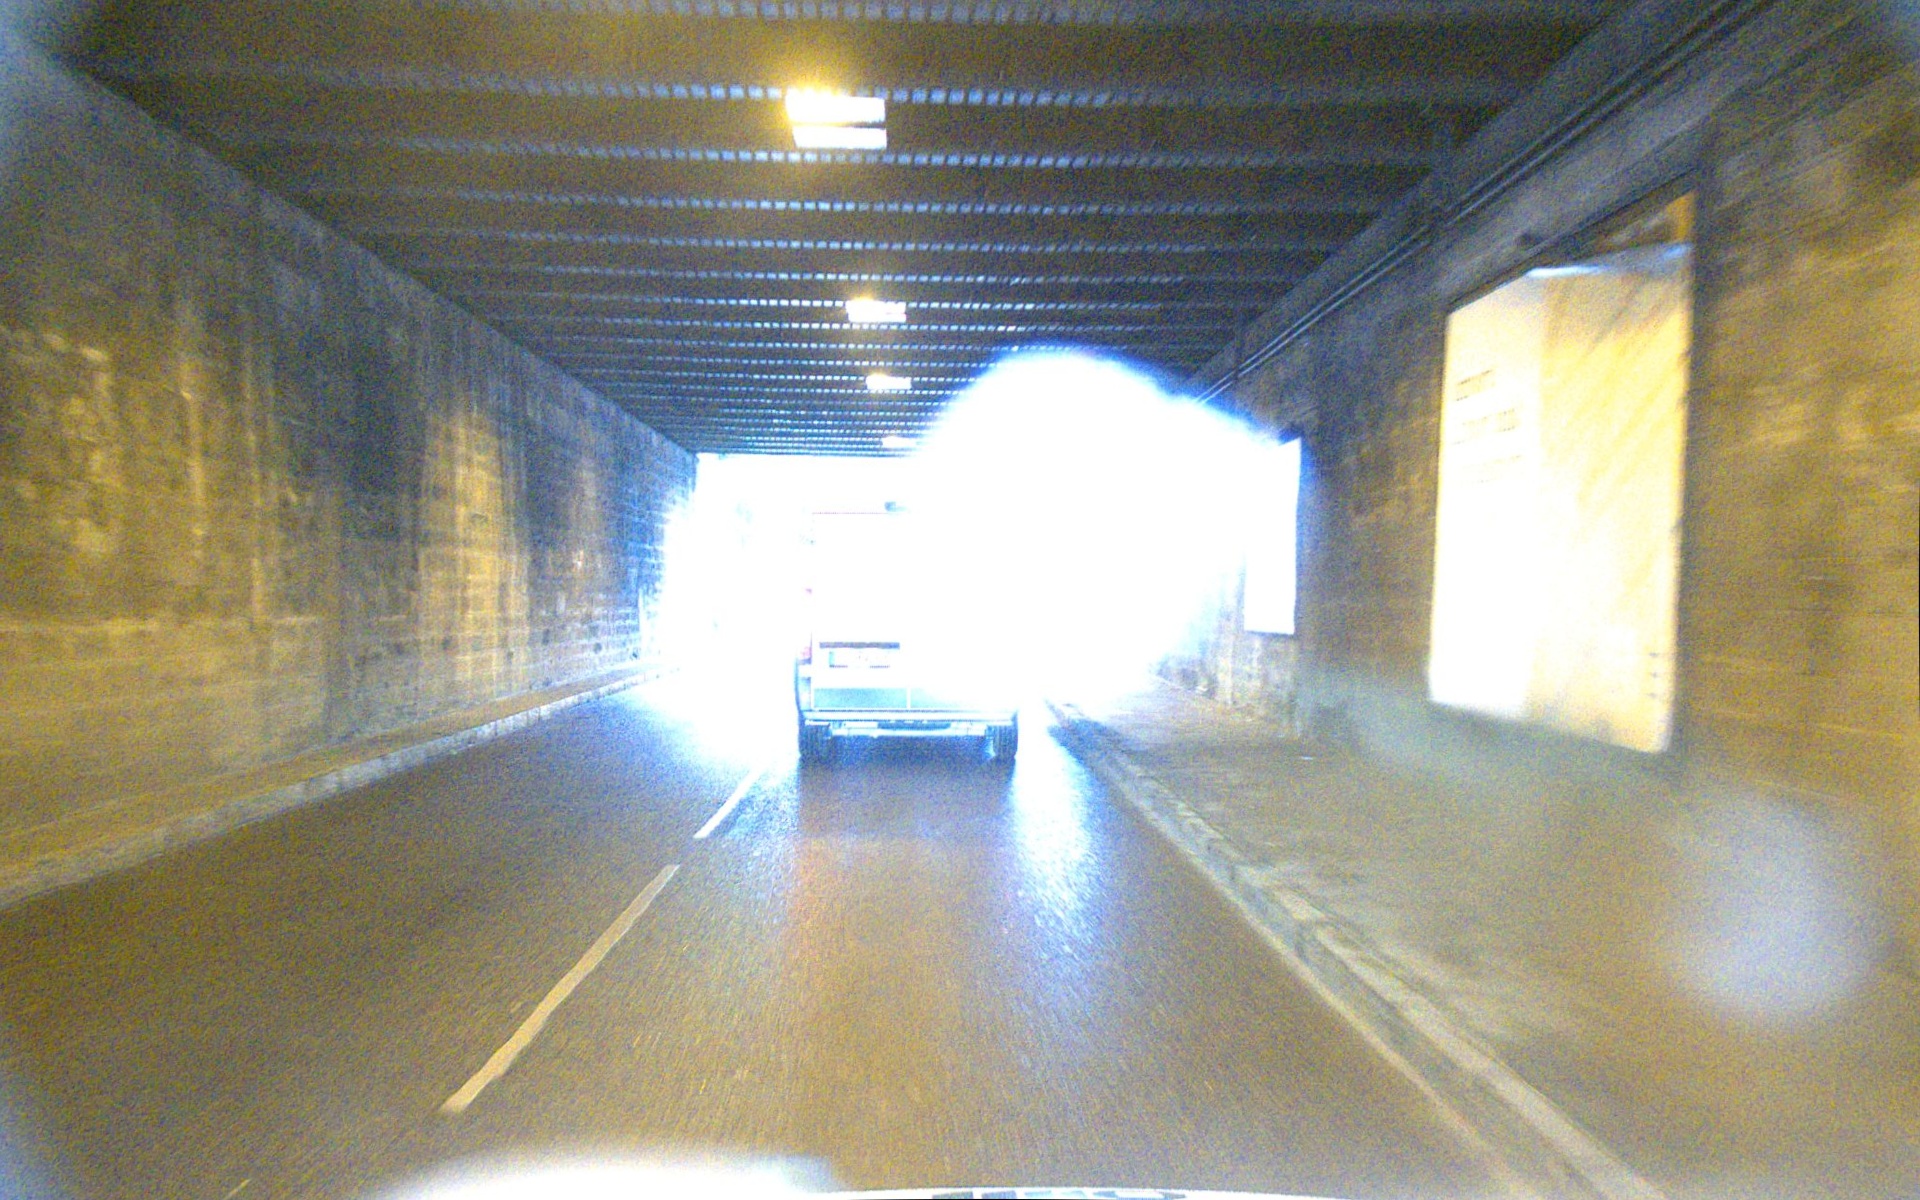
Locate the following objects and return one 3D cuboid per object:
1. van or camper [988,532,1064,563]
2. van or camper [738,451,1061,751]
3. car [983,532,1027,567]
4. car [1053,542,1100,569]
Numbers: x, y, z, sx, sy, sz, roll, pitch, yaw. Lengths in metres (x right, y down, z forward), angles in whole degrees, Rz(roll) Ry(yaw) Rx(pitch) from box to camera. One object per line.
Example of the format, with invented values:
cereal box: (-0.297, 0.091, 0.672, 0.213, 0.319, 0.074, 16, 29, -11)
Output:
van or camper: (4.625, -3.654, 115.303, 5.196, 2.049, 2.079, 1, 1, 4)
van or camper: (-0.634, 0.067, 16.112, 2.645, 2.459, 4.899, 0, -1, -4)
car: (2.581, -2.921, 96.127, 1.956, 1.981, 3.993, 0, 1, -8)
car: (6.801, -2.589, 97.118, 1.956, 1.512, 3.993, 0, 1, -8)
